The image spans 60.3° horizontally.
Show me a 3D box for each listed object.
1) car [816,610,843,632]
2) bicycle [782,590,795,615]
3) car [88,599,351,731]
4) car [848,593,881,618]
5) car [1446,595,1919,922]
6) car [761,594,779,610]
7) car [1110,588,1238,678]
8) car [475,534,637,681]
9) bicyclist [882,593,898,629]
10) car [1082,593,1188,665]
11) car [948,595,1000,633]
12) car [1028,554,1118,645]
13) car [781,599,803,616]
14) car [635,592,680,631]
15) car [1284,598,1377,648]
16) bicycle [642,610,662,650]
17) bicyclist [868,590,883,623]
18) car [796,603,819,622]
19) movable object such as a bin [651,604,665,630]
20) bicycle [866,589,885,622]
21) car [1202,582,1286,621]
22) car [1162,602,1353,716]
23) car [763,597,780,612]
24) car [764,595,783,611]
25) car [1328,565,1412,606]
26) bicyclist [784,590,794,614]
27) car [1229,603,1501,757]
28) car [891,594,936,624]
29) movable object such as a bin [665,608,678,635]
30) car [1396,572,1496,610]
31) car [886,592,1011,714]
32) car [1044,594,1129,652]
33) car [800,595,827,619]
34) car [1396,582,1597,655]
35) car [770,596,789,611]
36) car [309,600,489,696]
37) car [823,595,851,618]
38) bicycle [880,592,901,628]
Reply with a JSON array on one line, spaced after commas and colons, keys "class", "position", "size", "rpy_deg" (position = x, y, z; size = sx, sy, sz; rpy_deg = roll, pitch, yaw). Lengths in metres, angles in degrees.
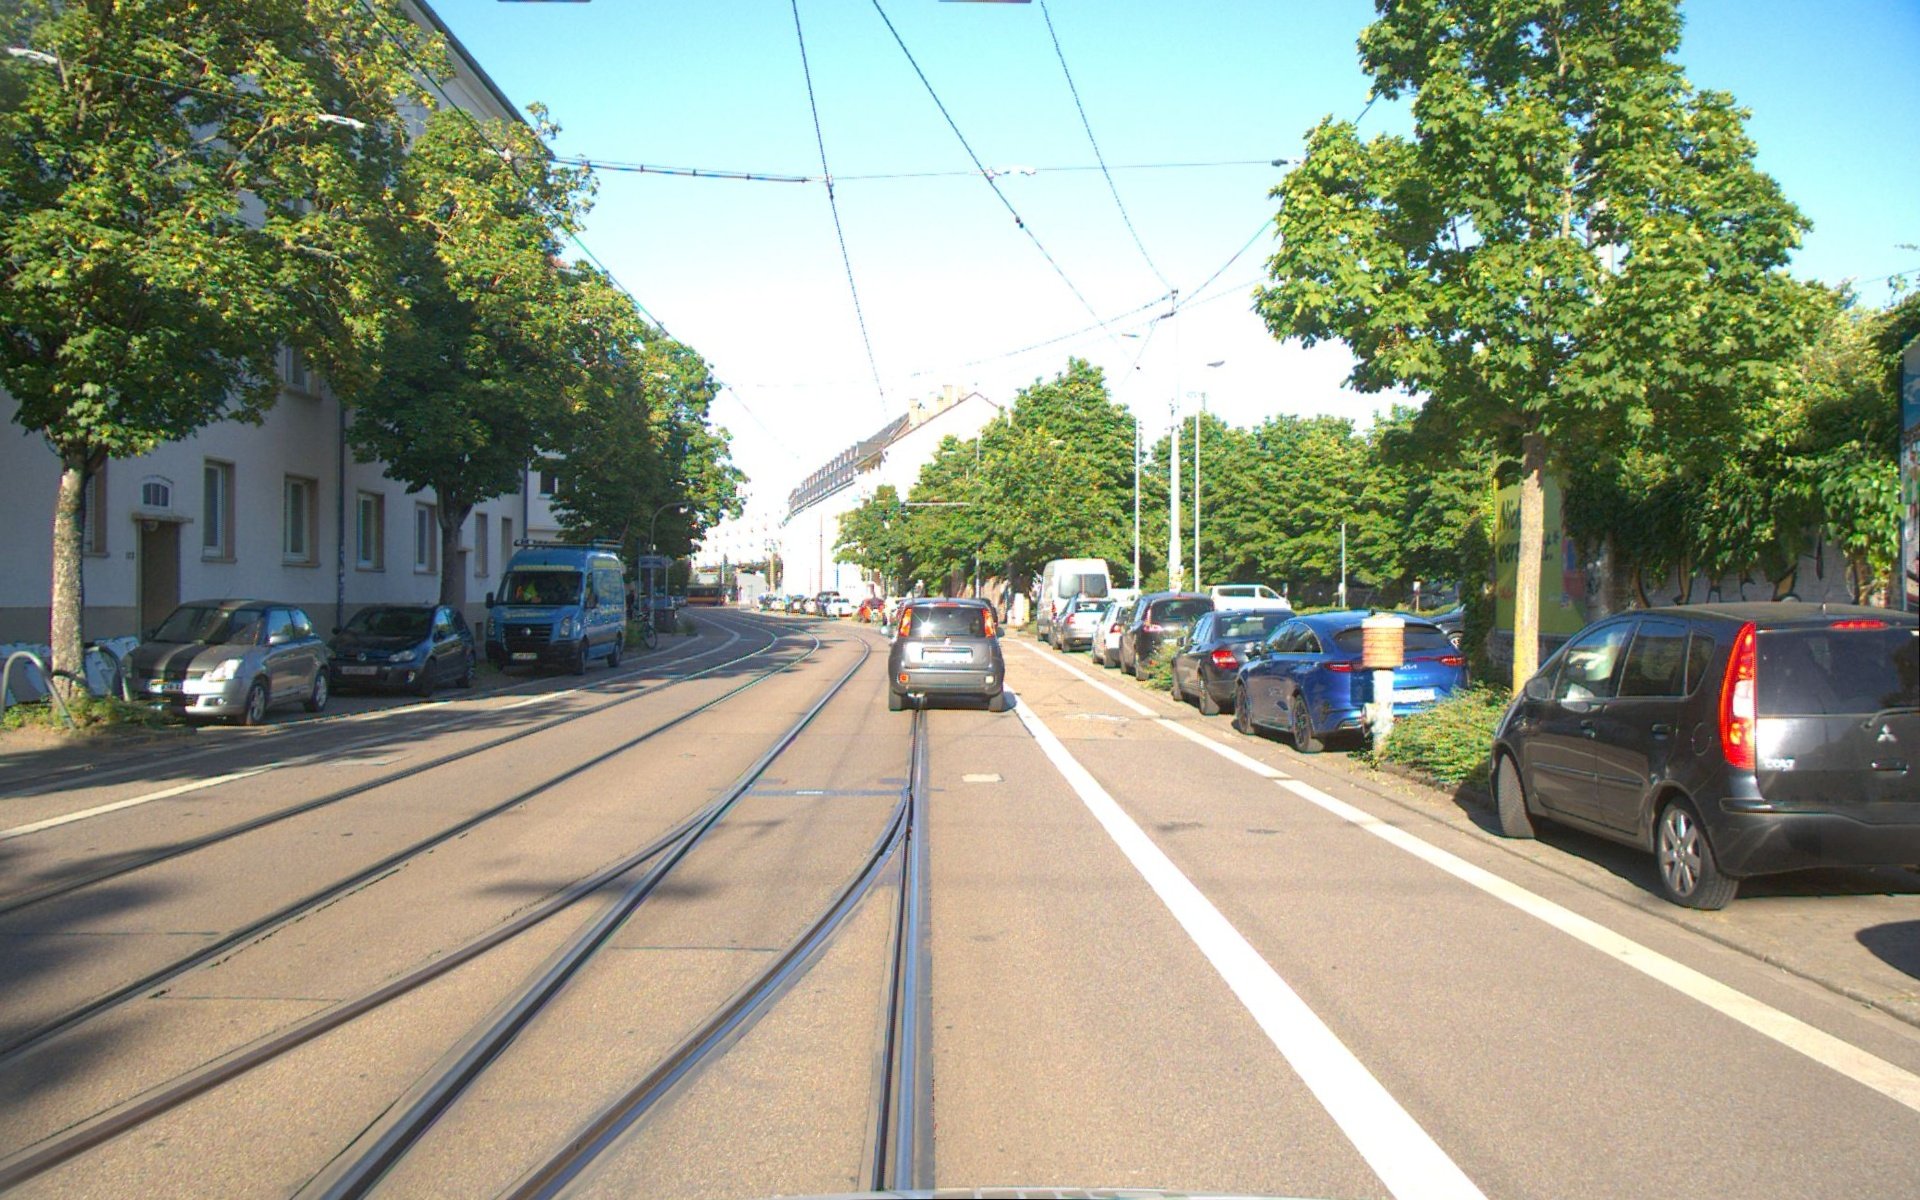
[{"class": "car", "position": [-9.963, 1.576, 126.180], "size": [1.626, 1.599, 3.865], "rpy_deg": [1, 0, -12]}, {"class": "bicycle", "position": [-14.506, 0.189, 140.003], "size": [0.728, 2.049, 2.803], "rpy_deg": [1, 0, -12]}, {"class": "car", "position": [-9.424, 0.766, 21.415], "size": [1.618, 1.517, 3.999], "rpy_deg": [1, 0, -1]}, {"class": "car", "position": [-5.996, 0.338, 103.856], "size": [1.606, 1.534, 3.388], "rpy_deg": [-2, 0, -11]}, {"class": "car", "position": [4.483, 0.765, 9.949], "size": [1.788, 1.519, 3.812], "rpy_deg": [-2, 0, -3]}, {"class": "car", "position": [-20.188, 0.226, 175.517], "size": [1.555, 1.627, 3.366], "rpy_deg": [1, 0, -12]}, {"class": "car", "position": [4.179, 0.620, 32.936], "size": [1.694, 1.632, 4.339], "rpy_deg": [1, 0, -4]}, {"class": "car", "position": [-8.599, 0.154, 35.791], "size": [1.976, 2.875, 6.031], "rpy_deg": [1, 0, 0]}, {"class": "bicyclist", "position": [-3.505, 0.535, 82.886], "size": [0.687, 1.790, 0.755], "rpy_deg": [1, 0, -12]}, {"class": "car", "position": [3.927, 0.629, 37.716], "size": [1.694, 1.538, 4.248], "rpy_deg": [1, 0, -4]}, {"class": "car", "position": [0.587, 0.600, 72.732], "size": [1.657, 1.557, 3.993], "rpy_deg": [-1, 0, -8]}, {"class": "car", "position": [3.589, -0.010, 53.574], "size": [2.136, 2.712, 6.087], "rpy_deg": [-2, 0, -3]}, {"class": "car", "position": [-15.387, 0.713, 151.527], "size": [1.555, 1.429, 3.366], "rpy_deg": [-3, 1, -12]}, {"class": "car", "position": [-12.673, 0.470, 69.437], "size": [1.657, 1.557, 3.993], "rpy_deg": [1, 0, -8]}, {"class": "car", "position": [8.218, 0.502, 36.861], "size": [1.283, 1.051, 3.055], "rpy_deg": [1, 0, -2]}, {"class": "bicycle", "position": [-9.201, 0.881, 49.440], "size": [0.502, 1.154, 2.027], "rpy_deg": [1, 0, -8]}, {"class": "bicyclist", "position": [-4.714, 0.359, 92.209], "size": [0.687, 1.790, 0.755], "rpy_deg": [1, 0, -12]}, {"class": "car", "position": [-13.170, 1.063, 142.949], "size": [1.626, 1.526, 3.120], "rpy_deg": [1, 0, -12]}, {"class": "movable object such as a bin", "position": [-11.768, 0.644, 64.444], "size": [0.476, 1.005, 0.658], "rpy_deg": [1, 0, -9]}, {"class": "bicycle", "position": [-4.721, 0.303, 92.335], "size": [0.663, 1.777, 2.151], "rpy_deg": [1, 0, -12]}, {"class": "car", "position": [15.654, 0.076, 91.343], "size": [4.199, 2.049, 1.771], "rpy_deg": [-2, 0, -7]}, {"class": "car", "position": [4.241, 0.788, 24.249], "size": [1.694, 1.489, 4.494], "rpy_deg": [1, 0, -4]}, {"class": "car", "position": [-20.758, 0.512, 182.289], "size": [1.555, 1.627, 3.366], "rpy_deg": [1, 0, -12]}, {"class": "car", "position": [-19.148, 0.325, 169.625], "size": [1.555, 1.627, 3.366], "rpy_deg": [1, 0, -12]}, {"class": "car", "position": [23.253, -0.841, 93.909], "size": [4.116, 2.280, 2.136], "rpy_deg": [0, 0, -14]}, {"class": "bicyclist", "position": [-14.506, 0.147, 140.048], "size": [0.702, 2.049, 0.829], "rpy_deg": [1, 0, -12]}, {"class": "car", "position": [4.341, 0.793, 18.410], "size": [1.694, 1.489, 4.337], "rpy_deg": [1, 0, -4]}, {"class": "car", "position": [-2.526, 0.473, 89.147], "size": [1.660, 1.557, 3.986], "rpy_deg": [-1, 0, -14]}, {"class": "movable object such as a bin", "position": [-11.265, 0.840, 64.537], "size": [0.476, 1.005, 0.658], "rpy_deg": [1, 0, -9]}, {"class": "car", "position": [25.187, -0.453, 85.774], "size": [4.597, 1.847, 1.957], "rpy_deg": [1, 0, -10]}, {"class": "car", "position": [-0.206, 0.700, 23.981], "size": [1.617, 1.568, 4.233], "rpy_deg": [1, 0, -1]}, {"class": "car", "position": [3.524, 0.621, 46.859], "size": [1.872, 1.556, 4.598], "rpy_deg": [-1, 0, -2]}, {"class": "car", "position": [-12.245, 0.578, 138.024], "size": [1.626, 1.978, 4.651], "rpy_deg": [1, 0, -12]}, {"class": "car", "position": [11.254, 0.386, 34.828], "size": [3.628, 1.424, 1.758], "rpy_deg": [1, 0, -3]}, {"class": "car", "position": [-17.879, 0.354, 163.780], "size": [1.555, 1.430, 3.366], "rpy_deg": [1, 0, -12]}, {"class": "car", "position": [-9.285, 0.749, 27.738], "size": [1.618, 1.450, 4.188], "rpy_deg": [1, 0, -1]}, {"class": "car", "position": [-9.101, 0.462, 121.943], "size": [1.626, 1.599, 3.489], "rpy_deg": [1, 0, -12]}, {"class": "bicycle", "position": [-3.495, 0.503, 82.904], "size": [0.663, 1.777, 2.151], "rpy_deg": [1, 0, -12]}]
